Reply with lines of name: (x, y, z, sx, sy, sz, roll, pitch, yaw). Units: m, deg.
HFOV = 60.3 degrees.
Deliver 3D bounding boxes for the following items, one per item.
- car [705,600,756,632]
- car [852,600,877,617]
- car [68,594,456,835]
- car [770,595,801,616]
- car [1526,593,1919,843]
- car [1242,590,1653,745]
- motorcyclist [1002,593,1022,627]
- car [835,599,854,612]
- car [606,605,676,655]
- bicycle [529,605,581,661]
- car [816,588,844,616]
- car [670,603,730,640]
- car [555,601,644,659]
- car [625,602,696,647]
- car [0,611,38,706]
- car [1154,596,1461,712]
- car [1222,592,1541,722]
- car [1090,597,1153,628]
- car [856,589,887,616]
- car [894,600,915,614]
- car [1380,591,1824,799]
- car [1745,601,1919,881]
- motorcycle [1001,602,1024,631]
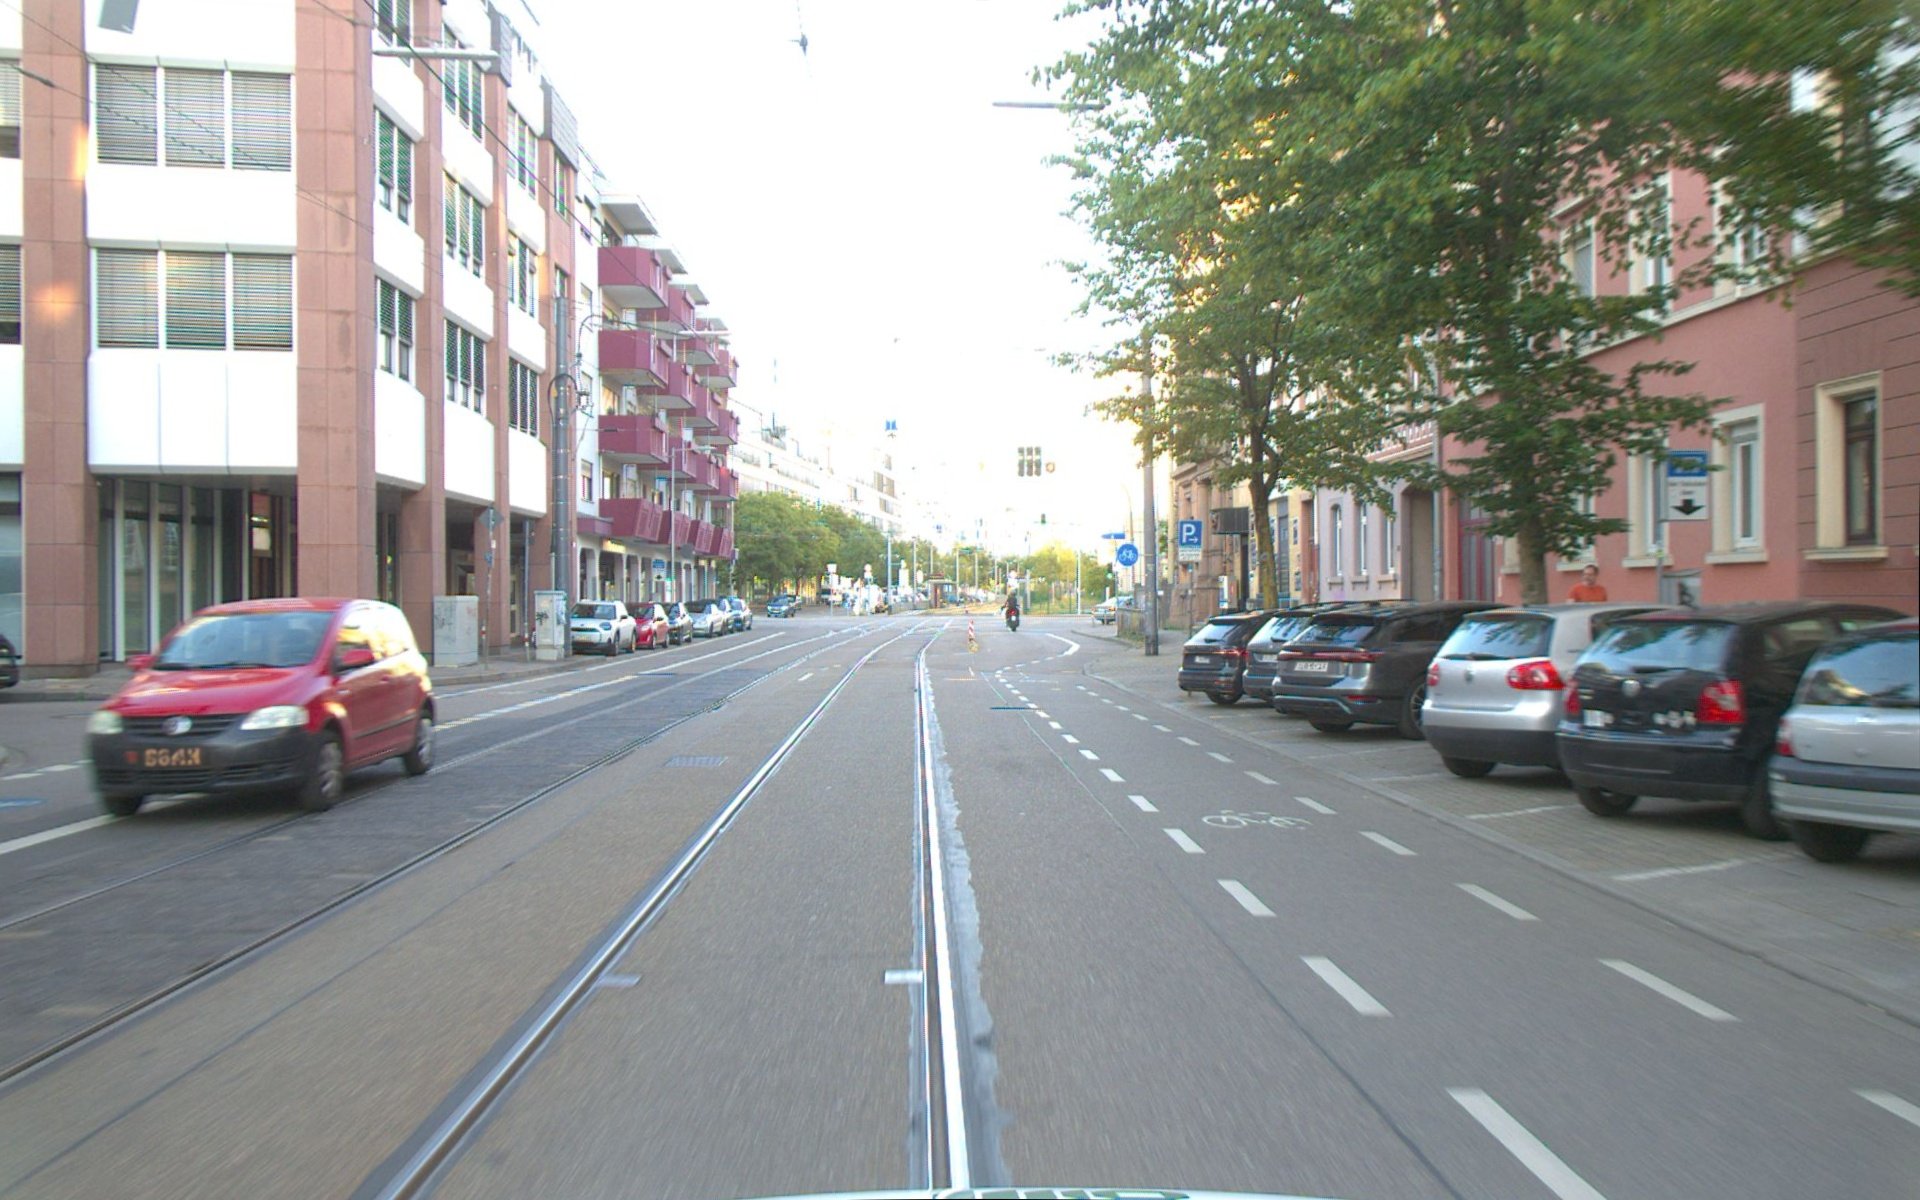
car: (-11.023, 0.758, 79.717, 1.814, 1.482, 5.085, 0, 0, -1)
car: (-8.681, 0.778, 150.637, 1.647, 1.464, 4.128, 0, 0, 6)
car: (-5.313, 0.768, 13.118, 1.527, 1.585, 3.754, -2, 0, -2)
car: (-14.771, 0.490, 140.250, 1.647, 1.729, 4.242, 0, 0, 7)
car: (5.895, 0.717, 11.635, 3.513, 1.454, 1.655, -2, 0, -27)
car: (5.734, 0.720, 19.444, 4.387, 1.543, 2.047, -2, 0, -25)
motorcyclist: (2.368, 0.443, 75.164, 0.812, 1.499, 1.206, 0, 0, -3)
car: (-14.100, 0.676, 201.978, 1.647, 1.528, 4.242, 0, 0, 6)
car: (-10.346, 0.944, 53.795, 1.578, 1.505, 3.479, 2, 0, 0)
bicycle: (-10.559, 0.846, 43.202, 0.595, 1.402, 2.260, 0, 0, 6)
car: (-15.142, 0.220, 192.597, 2.154, 3.207, 6.147, 0, 0, 6)
car: (-10.657, 0.851, 68.072, 1.656, 1.438, 4.677, 2, 0, 1)
car: (-10.379, 0.828, 47.864, 1.682, 1.583, 4.203, 1, 0, -1)
car: (-10.776, 0.849, 59.759, 1.954, 1.505, 4.479, 2, 0, -4)
car: (-17.451, 0.993, 26.824, 3.913, 1.531, 1.919, -1, -2, -9)
car: (5.377, 0.777, 25.455, 4.549, 1.482, 1.696, -2, 0, -27)
car: (5.712, 0.741, 22.419, 3.939, 1.518, 1.815, -2, -1, -26)
car: (8.700, 0.646, 88.729, 1.686, 1.583, 4.193, 0, 0, 32)
car: (-8.344, 0.225, 156.471, 2.410, 2.526, 5.810, 0, 0, 2)
car: (-5.914, 0.750, 175.687, 1.647, 1.464, 4.128, 0, 0, 6)
car: (5.616, 0.739, 14.455, 3.513, 1.543, 1.728, -2, 0, -27)
car: (6.471, 0.721, 9.495, 3.432, 1.454, 1.610, -1, -2, -21)
motorcycle: (2.373, 0.739, 75.133, 0.812, 1.261, 2.489, 0, 0, -3)
